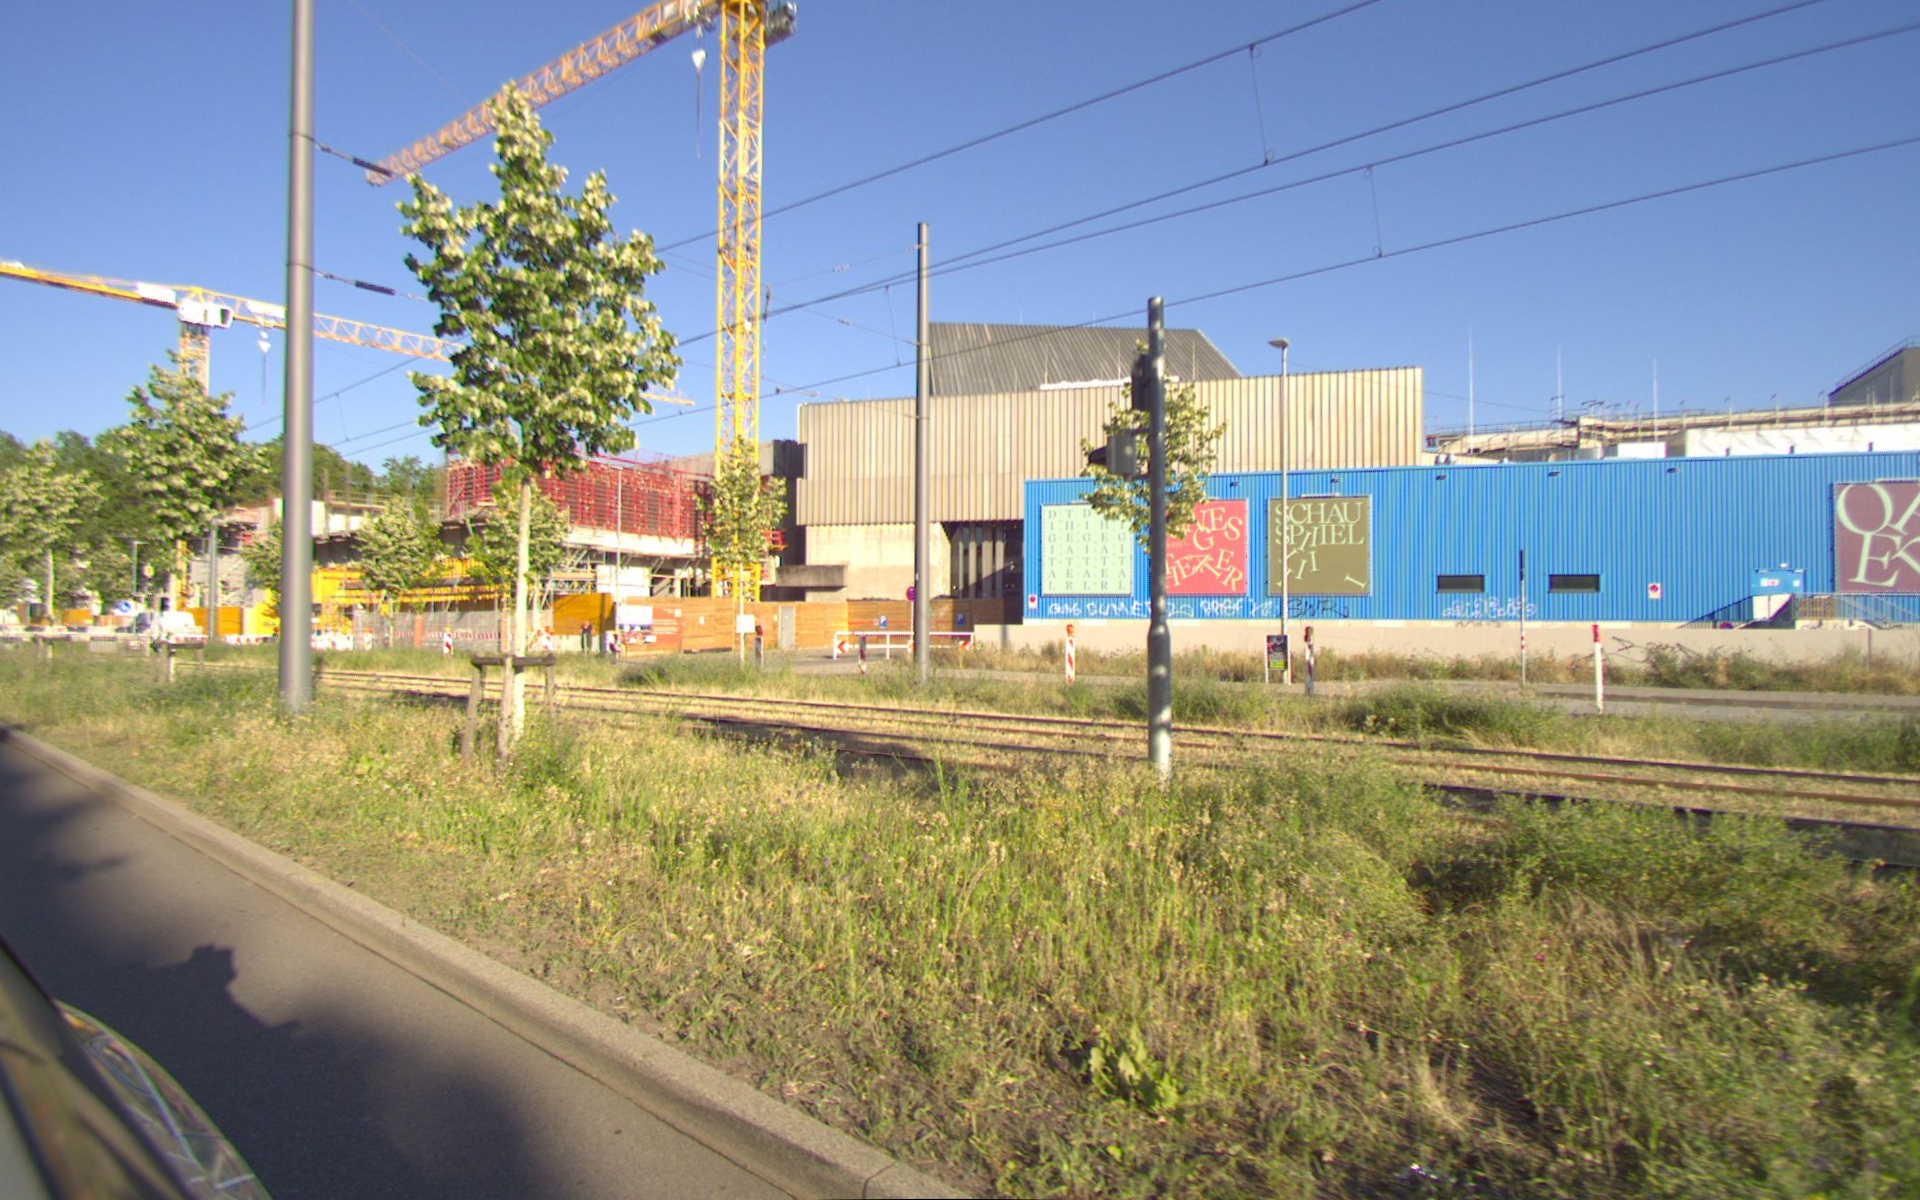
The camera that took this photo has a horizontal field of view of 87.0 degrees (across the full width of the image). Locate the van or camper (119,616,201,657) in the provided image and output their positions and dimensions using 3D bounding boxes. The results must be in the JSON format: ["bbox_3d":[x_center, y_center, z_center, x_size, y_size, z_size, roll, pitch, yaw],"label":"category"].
[{"bbox_3d":[-52.408,2.433,66.251,7.184,2.529,2.202,-2,-5,35],"label":"van or camper"}]
